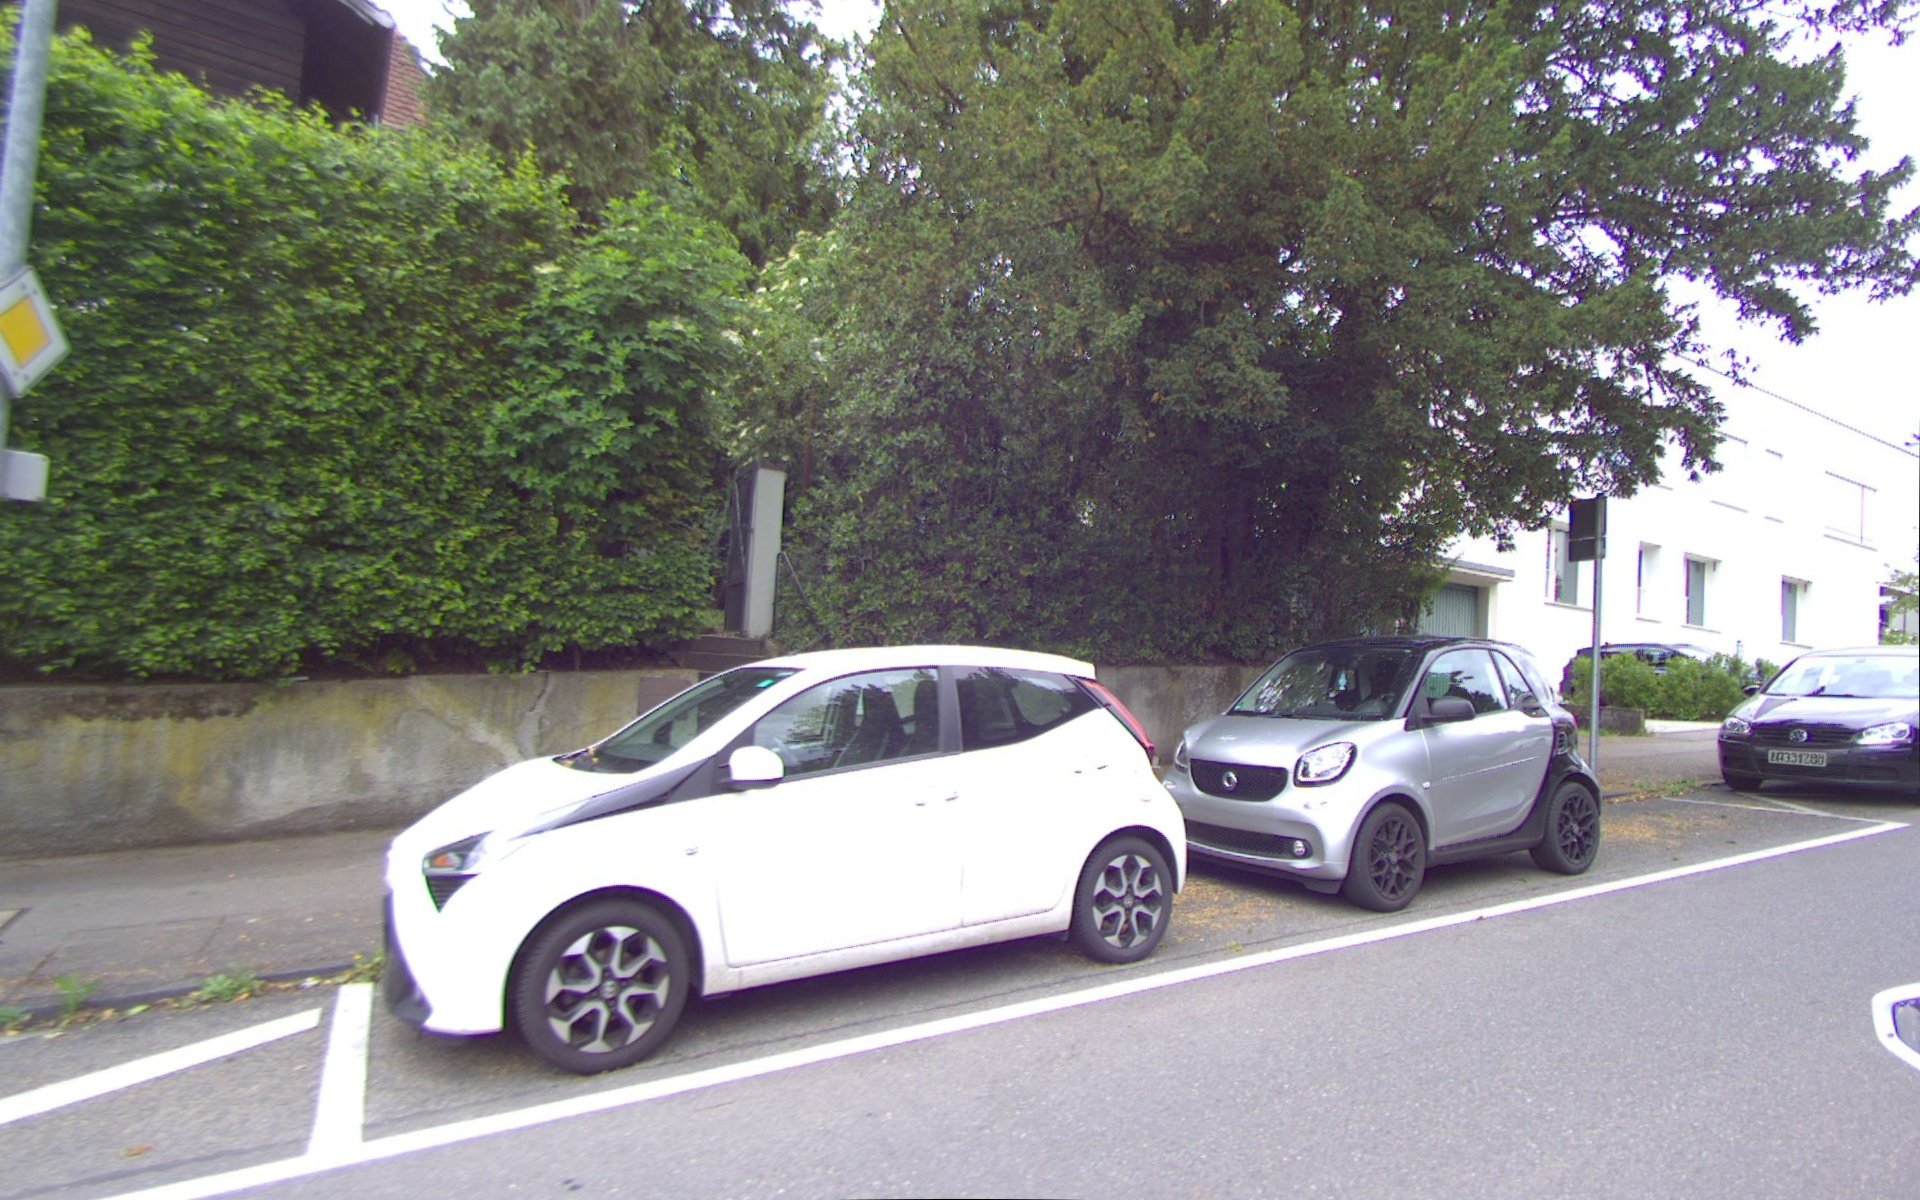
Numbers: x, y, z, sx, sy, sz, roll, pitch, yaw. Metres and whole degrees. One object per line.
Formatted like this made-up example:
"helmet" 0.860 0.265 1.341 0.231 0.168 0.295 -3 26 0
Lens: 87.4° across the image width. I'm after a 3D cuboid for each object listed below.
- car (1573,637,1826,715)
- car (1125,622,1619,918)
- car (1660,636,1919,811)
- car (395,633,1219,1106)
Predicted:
"car" 14.749 1.459 20.216 1.724 1.372 3.771 2 -2 -34
"car" 2.763 0.956 6.707 2.941 1.538 1.616 2 -2 -30
"car" 9.544 1.133 10.556 4.629 1.489 1.842 1 -3 -31
"car" -0.672 0.909 4.775 3.471 1.467 1.737 1 -3 -30
